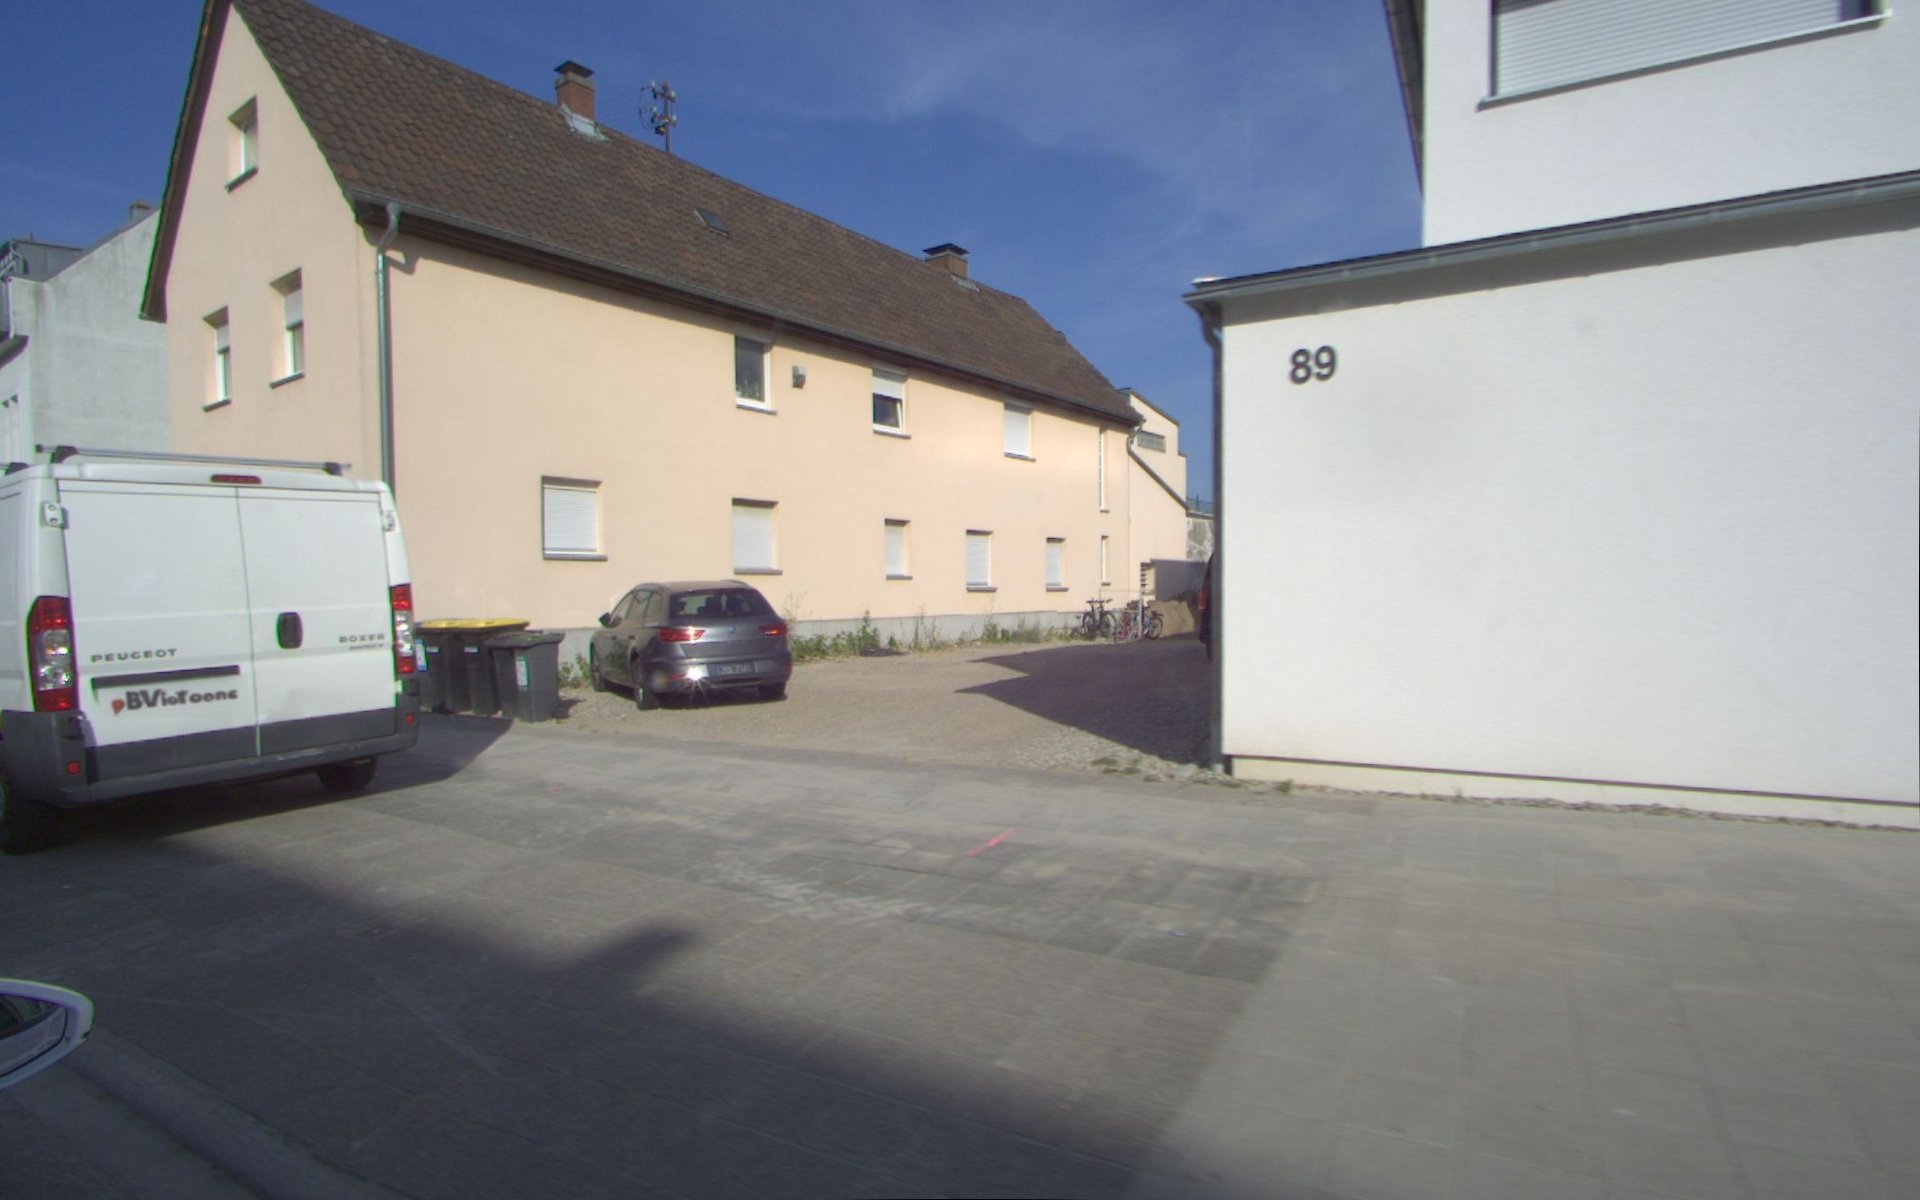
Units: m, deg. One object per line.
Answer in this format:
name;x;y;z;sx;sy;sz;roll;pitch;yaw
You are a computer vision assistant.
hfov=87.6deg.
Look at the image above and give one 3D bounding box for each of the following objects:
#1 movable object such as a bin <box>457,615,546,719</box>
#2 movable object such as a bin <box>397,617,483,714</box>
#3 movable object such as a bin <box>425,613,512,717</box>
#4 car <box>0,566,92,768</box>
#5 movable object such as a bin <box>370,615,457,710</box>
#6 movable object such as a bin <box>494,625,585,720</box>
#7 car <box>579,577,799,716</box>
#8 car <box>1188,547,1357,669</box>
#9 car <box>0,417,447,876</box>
movable object such as a bin;-5.153;0.734;11.266;0.546;1.108;0.726;0;1;34
movable object such as a bin;-6.200;0.760;11.949;0.546;1.108;0.726;0;0;34
movable object such as a bin;-5.684;0.727;11.587;0.546;1.147;0.726;0;0;34
car;-10.386;0.603;9.753;4.421;1.765;1.772;0;2;34
movable object such as a bin;-6.700;0.746;12.287;0.617;1.108;0.726;0;0;34
movable object such as a bin;-4.576;0.768;10.914;0.546;0.971;0.726;0;0;34
car;-3.548;0.463;12.598;1.638;1.426;3.956;-2;2;-31
car;5.527;0.086;17.432;1.895;1.871;3.814;1;2;32
car;-6.240;0.226;7.429;4.928;2.359;2.168;0;2;34
